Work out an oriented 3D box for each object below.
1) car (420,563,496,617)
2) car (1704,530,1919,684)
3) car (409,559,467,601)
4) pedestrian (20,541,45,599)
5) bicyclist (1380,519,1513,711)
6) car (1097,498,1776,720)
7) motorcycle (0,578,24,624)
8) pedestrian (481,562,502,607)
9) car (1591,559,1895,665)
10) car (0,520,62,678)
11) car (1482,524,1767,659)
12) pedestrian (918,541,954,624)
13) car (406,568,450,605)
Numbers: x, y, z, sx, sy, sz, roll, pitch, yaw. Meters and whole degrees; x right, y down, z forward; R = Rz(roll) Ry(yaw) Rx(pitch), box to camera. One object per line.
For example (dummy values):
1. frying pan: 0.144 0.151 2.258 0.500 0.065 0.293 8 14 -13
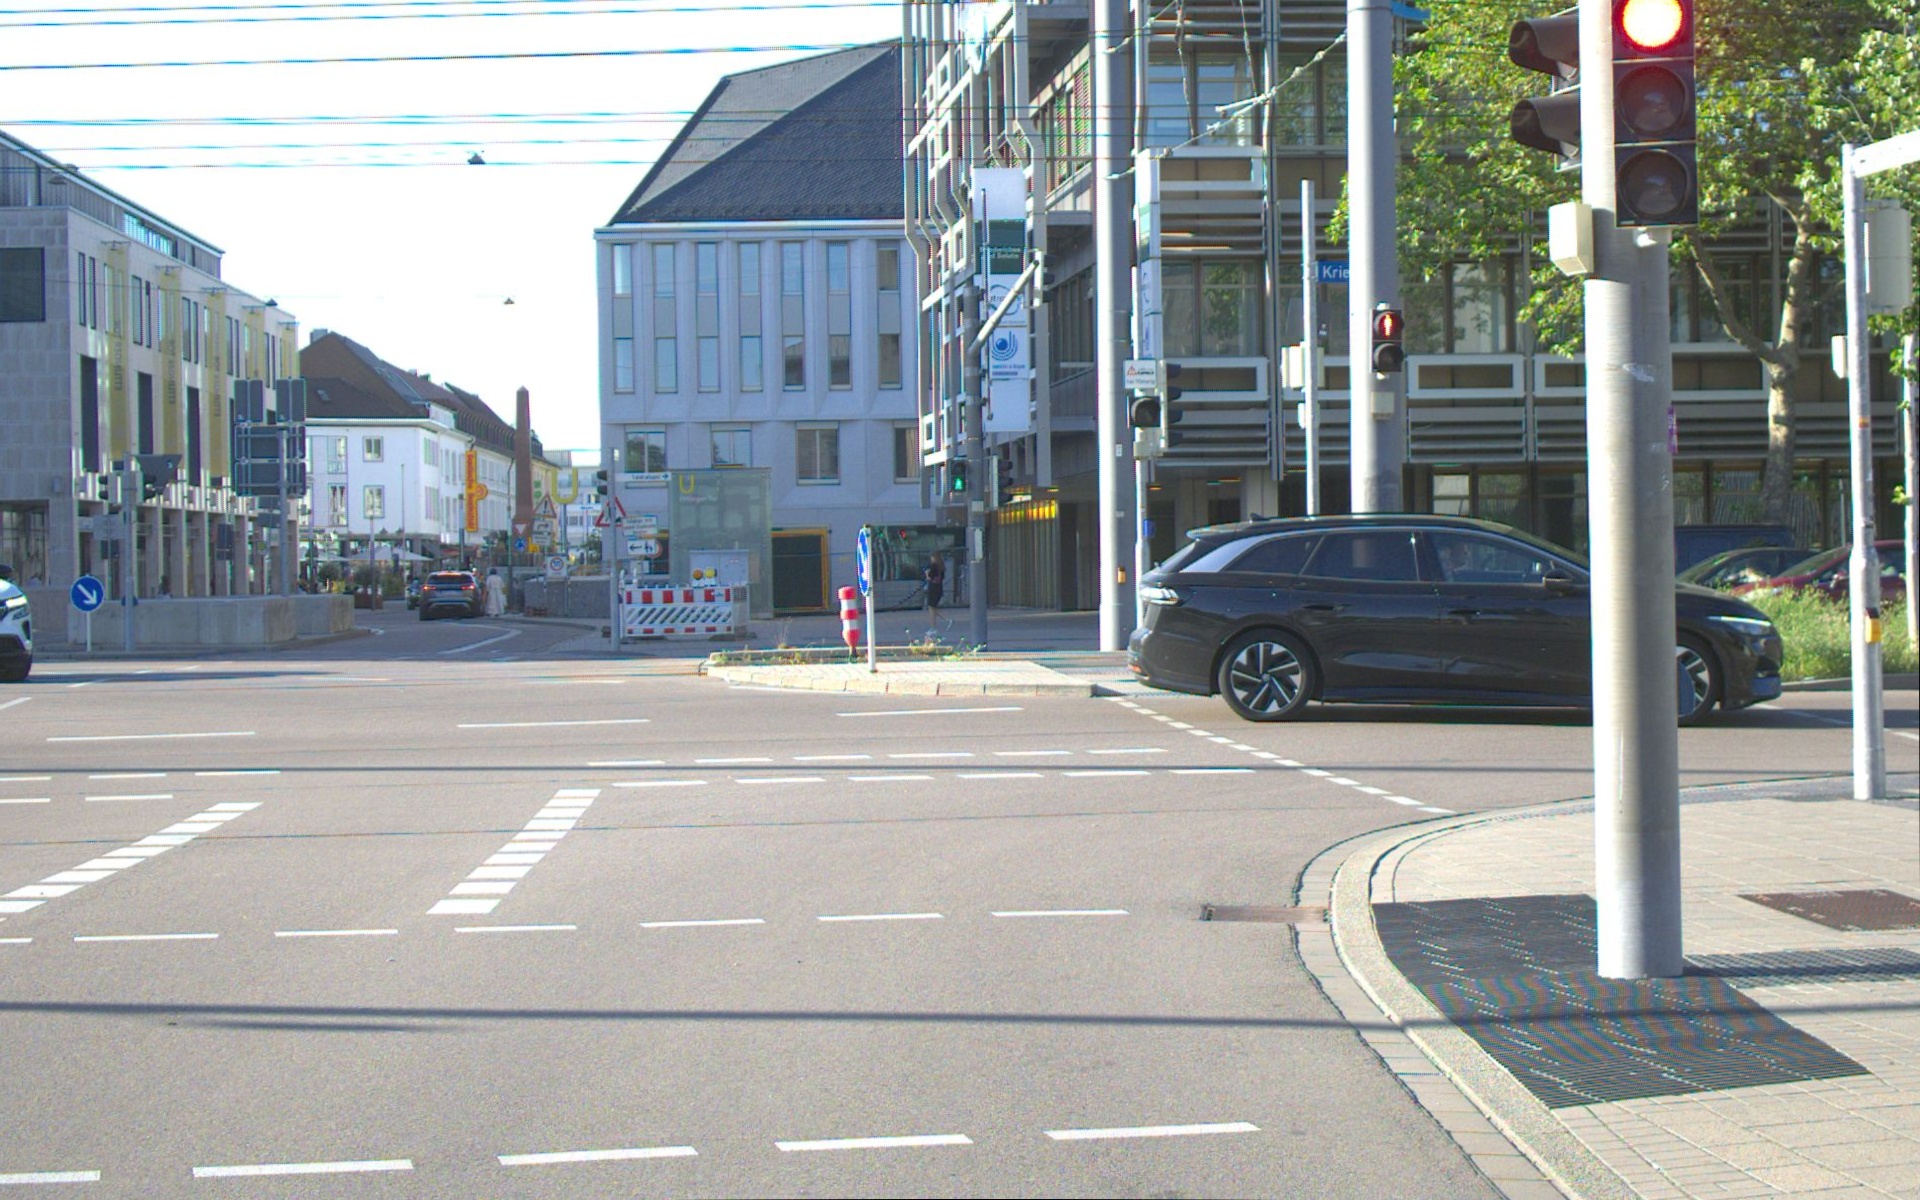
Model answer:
1. car: -15.806 -0.342 108.418 2.199 1.601 4.327 -1 1 -6
2. car: 12.291 0.092 46.406 3.986 2.007 2.000 1 0 -3
3. car: -21.476 -0.821 141.472 1.993 1.654 4.407 -2 1 -4
4. pedestrian: -32.067 -1.049 118.887 0.626 2.007 0.733 -1 1 2
5. bicyclist: 6.666 0.195 47.137 1.567 2.571 0.932 -1 1 -9
6. car: 3.608 0.067 26.307 4.939 1.596 1.999 0 0 7
7. motorcycle: -28.203 0.042 99.063 2.274 1.313 0.720 -1 1 -5
8. pedestrian: -14.787 -0.505 108.546 0.609 1.406 0.570 -1 1 -6
9. car: 11.498 0.163 50.658 3.986 1.503 1.868 0 1 -3
10. car: -11.518 -0.039 37.839 1.993 1.654 4.406 -2 2 -31
11. car: 10.349 -0.138 53.774 3.986 2.007 2.000 1 0 -3
12. pedestrian: -0.482 -0.357 69.351 0.663 1.652 0.755 -1 1 -3
13. car: -26.018 -0.671 168.332 1.756 1.777 4.001 -1 1 -4
